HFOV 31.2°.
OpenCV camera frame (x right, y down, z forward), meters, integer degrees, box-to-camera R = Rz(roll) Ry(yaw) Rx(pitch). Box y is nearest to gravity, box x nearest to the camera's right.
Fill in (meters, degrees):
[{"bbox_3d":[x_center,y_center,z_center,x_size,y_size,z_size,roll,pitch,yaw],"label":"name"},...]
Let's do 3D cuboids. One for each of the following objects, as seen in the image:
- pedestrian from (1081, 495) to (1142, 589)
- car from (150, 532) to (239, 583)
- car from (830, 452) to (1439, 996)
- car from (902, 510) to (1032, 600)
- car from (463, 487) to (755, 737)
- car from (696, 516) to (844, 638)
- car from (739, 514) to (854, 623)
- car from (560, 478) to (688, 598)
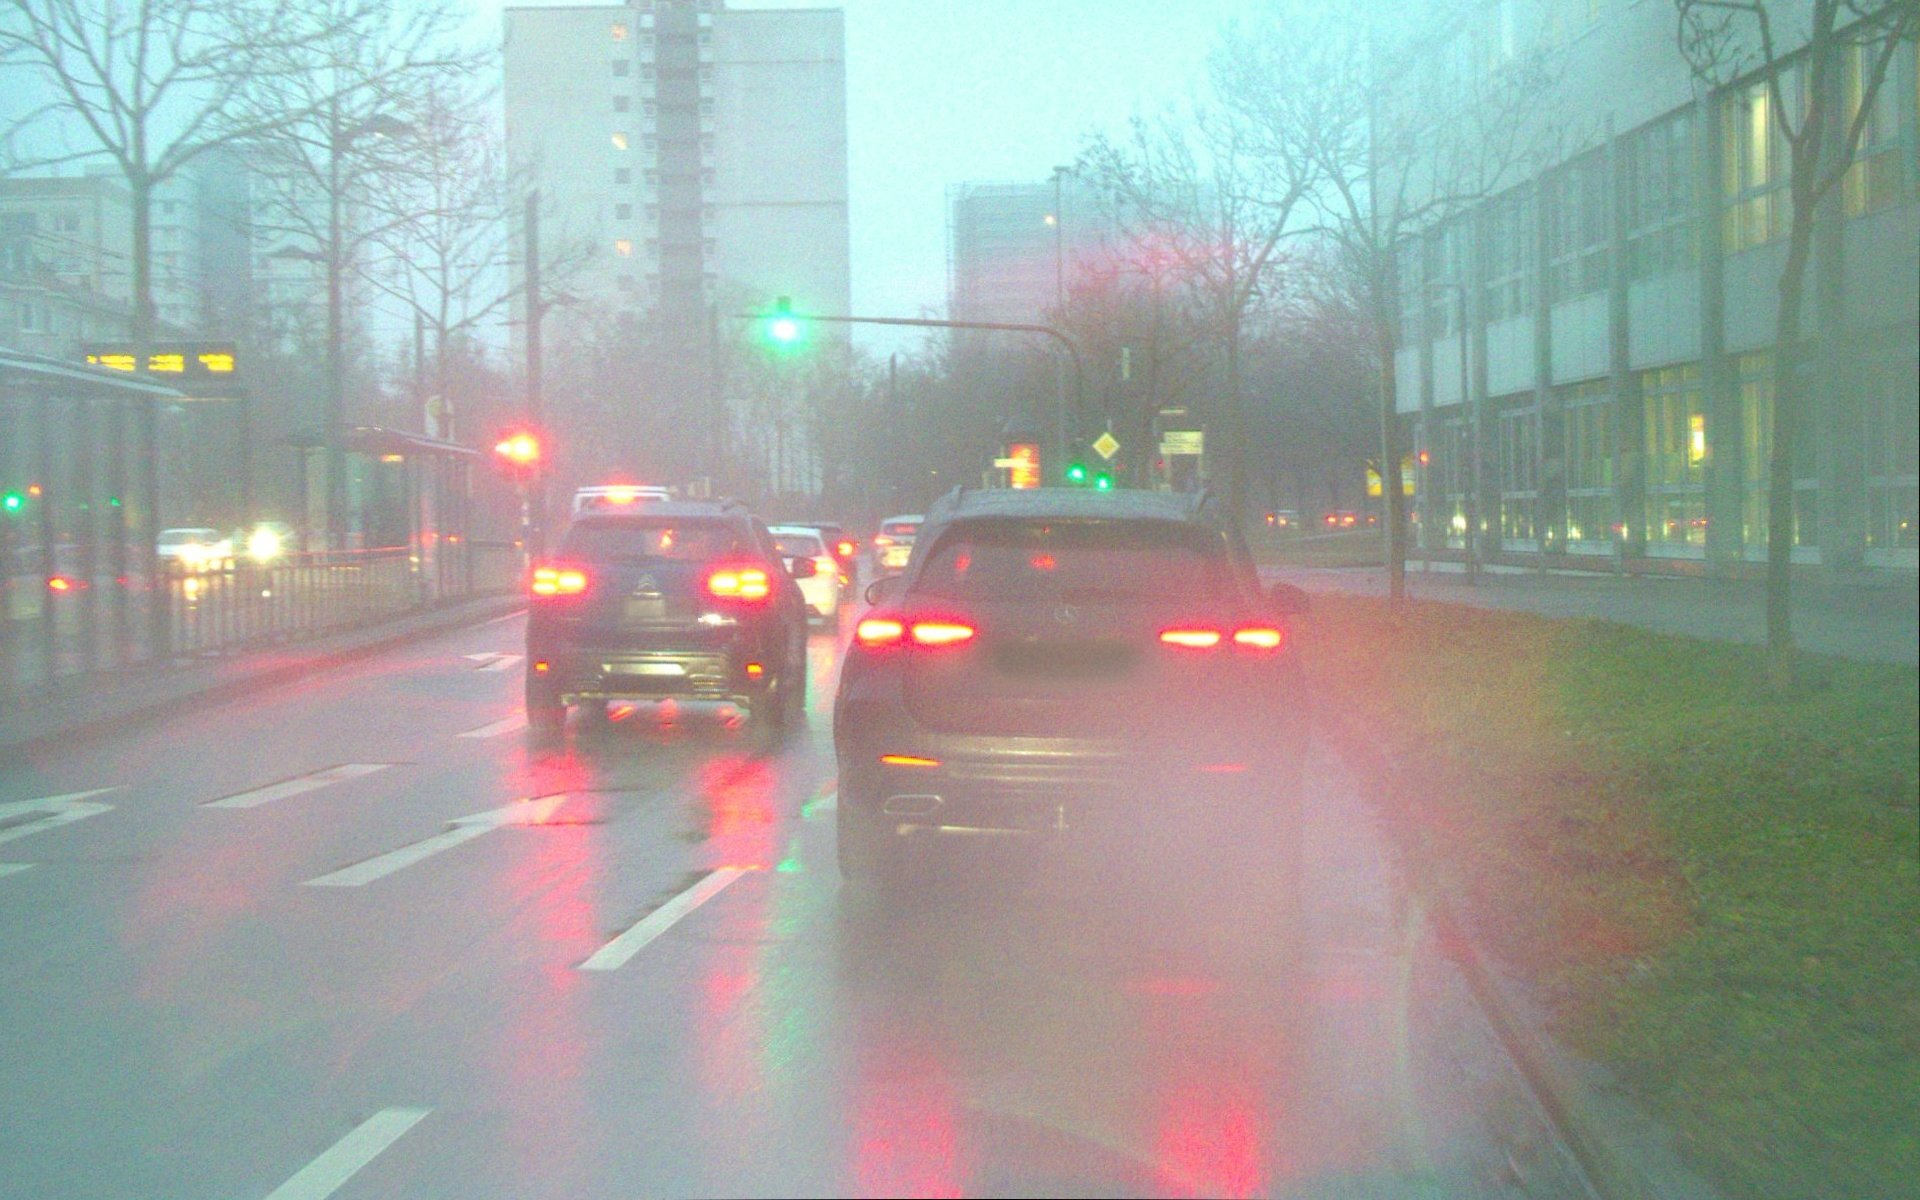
[{"bbox_3d":[2.973,-1.140,67.339,0.797,1.744,0.860,-4,2,25],"label":"pedestrian"},{"bbox_3d":[-22.808,-1.258,102.484,1.759,1.492,3.759,1,0,1],"label":"car"},{"bbox_3d":[0.568,0.445,14.575,1.993,1.969,4.069,0,0,-5],"label":"car"},{"bbox_3d":[0.067,-0.747,55.190,1.886,1.349,4.102,0,2,-3],"label":"car"},{"bbox_3d":[-2.580,0.072,25.928,1.993,1.706,4.325,0,0,-4],"label":"car"},{"bbox_3d":[-2.650,-0.318,48.568,1.993,1.636,4.022,0,0,-2],"label":"car"},{"bbox_3d":[-3.106,-0.594,65.963,1.993,2.007,4.000,1,0,0],"label":"car"},{"bbox_3d":[-5.853,-1.095,60.366,1.952,2.026,4.883,0,1,-2],"label":"car"}]
